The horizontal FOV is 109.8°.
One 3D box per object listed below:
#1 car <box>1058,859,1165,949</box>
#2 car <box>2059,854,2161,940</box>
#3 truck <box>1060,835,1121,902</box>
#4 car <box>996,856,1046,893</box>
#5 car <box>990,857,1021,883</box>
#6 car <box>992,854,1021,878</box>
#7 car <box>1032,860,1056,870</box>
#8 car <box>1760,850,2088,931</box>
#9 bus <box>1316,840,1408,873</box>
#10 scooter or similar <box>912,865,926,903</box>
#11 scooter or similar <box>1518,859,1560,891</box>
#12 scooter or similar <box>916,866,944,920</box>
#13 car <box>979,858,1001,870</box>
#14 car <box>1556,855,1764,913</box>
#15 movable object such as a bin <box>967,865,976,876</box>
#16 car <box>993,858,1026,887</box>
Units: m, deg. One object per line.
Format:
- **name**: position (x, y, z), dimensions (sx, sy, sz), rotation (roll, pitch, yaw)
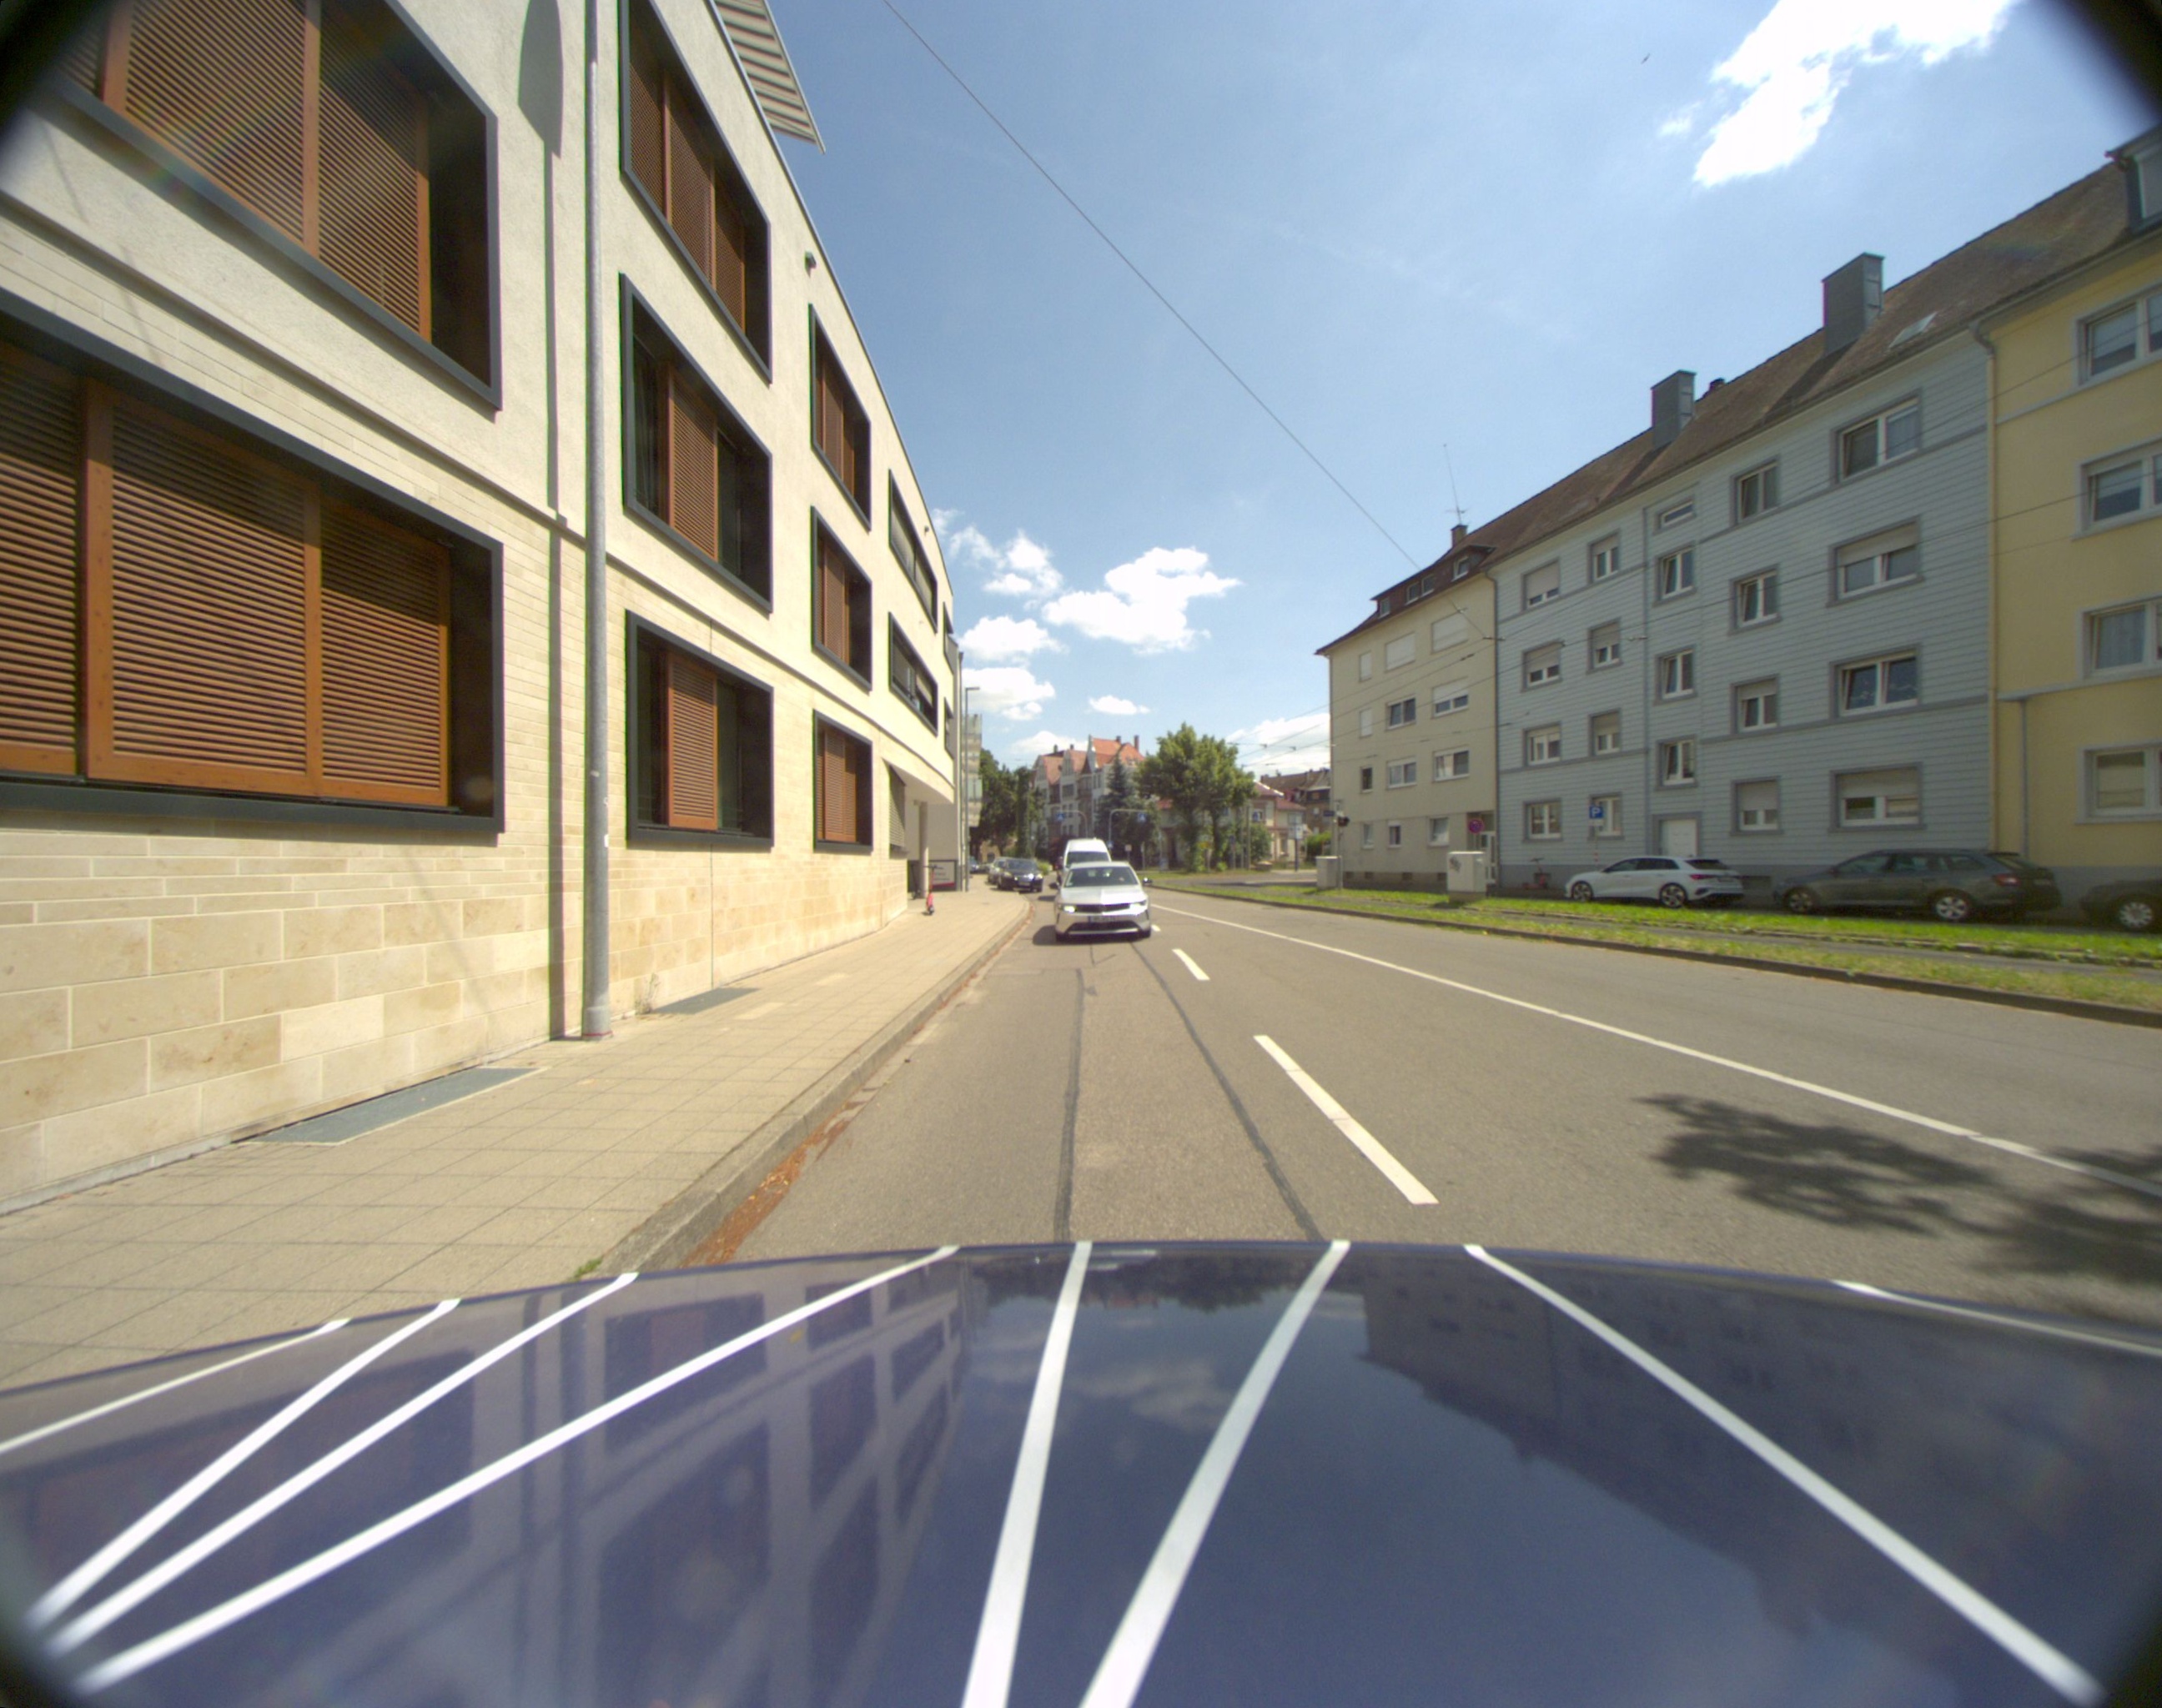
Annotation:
- **car**: position (0.747, 0.898, 15.323), dimensions (1.800, 1.457, 4.173), rotation (-3, 0, 6)
- **car**: position (18.610, 0.697, 11.593), dimensions (1.837, 1.391, 4.137), rotation (1, -1, -13)
- **truck**: position (0.292, 0.505, 28.978), dimensions (2.020, 2.236, 5.407), rotation (-3, 0, -1)
- **car**: position (-2.856, 0.908, 35.302), dimensions (1.806, 1.500, 4.543), rotation (3, 0, -10)
- **car**: position (-4.624, 0.966, 47.050), dimensions (1.732, 1.424, 4.041), rotation (3, 0, -4)
- **car**: position (-5.347, 0.821, 54.727), dimensions (1.731, 1.601, 3.799), rotation (2, 1, -1)
- **car**: position (-4.963, 1.429, 100.623), dimensions (1.821, 1.318, 3.992), rotation (0, -1, -24)
- **car**: position (17.708, 0.709, 16.316), dimensions (1.935, 1.496, 4.320), rotation (1, -1, -16)
- **bus**: position (29.250, 0.253, 78.831), dimensions (10.877, 3.277, 2.702), rotation (0, -1, -31)
- **scooter or similar**: position (-5.449, 0.993, 25.568), dimensions (0.423, 1.204, 1.314), rotation (0, 0, -10)
- **scooter or similar**: position (17.595, 0.791, 29.227), dimensions (0.640, 1.216, 1.319), rotation (-2, 0, -14)
- **scooter or similar**: position (-3.697, 0.941, 18.656), dimensions (0.583, 1.253, 1.366), rotation (1, 0, -8)
- **car**: position (-14.371, 1.561, 119.864), dimensions (1.779, 1.604, 3.865), rotation (6, -3, -36)
- **car**: position (16.121, 0.799, 21.478), dimensions (1.935, 1.442, 4.370), rotation (2, -1, -16)
- **movable object such as a bin**: position (-10.283, 1.532, 71.245), dimensions (0.616, 0.955, 0.634), rotation (-1, 0, 8)
- **car**: position (-3.990, 0.973, 42.023), dimensions (1.598, 1.424, 3.703), rotation (3, 0, -8)
